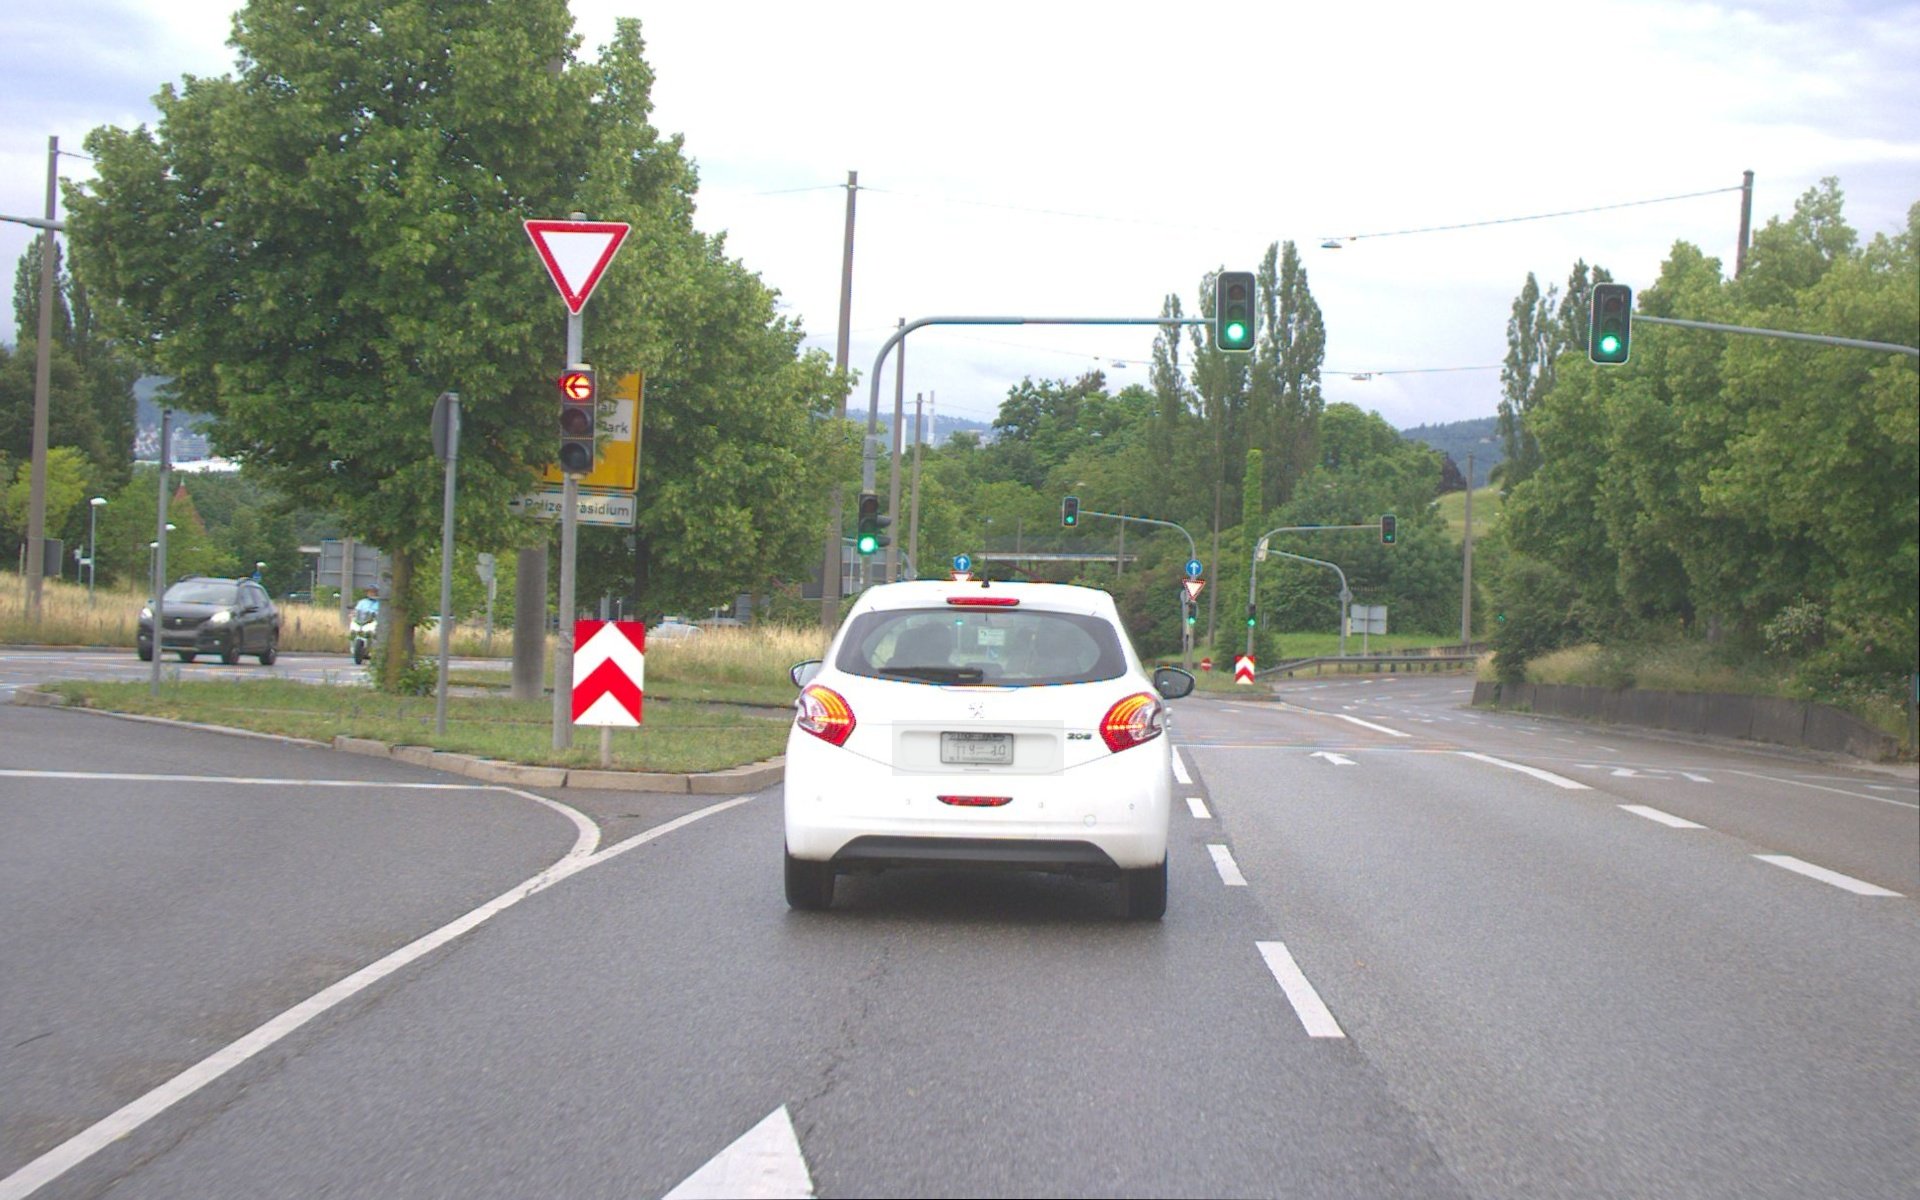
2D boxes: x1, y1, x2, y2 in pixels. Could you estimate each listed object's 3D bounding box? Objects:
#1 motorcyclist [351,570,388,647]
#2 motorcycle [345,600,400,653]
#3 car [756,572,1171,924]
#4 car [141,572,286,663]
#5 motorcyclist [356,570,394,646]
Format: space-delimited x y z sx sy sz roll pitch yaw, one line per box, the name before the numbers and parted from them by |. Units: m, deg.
motorcyclist | -12.456 0.171 72.502 0.582 1.590 0.643 3 1 2
motorcycle | -12.469 0.551 73.043 0.617 1.046 2.502 3 1 2
car | 0.094 0.616 16.148 1.708 1.435 3.690 1 0 3
car | -13.202 0.335 60.958 1.538 1.499 3.661 3 -1 3
motorcyclist | -12.450 0.168 73.185 0.612 1.576 0.582 3 0 2
